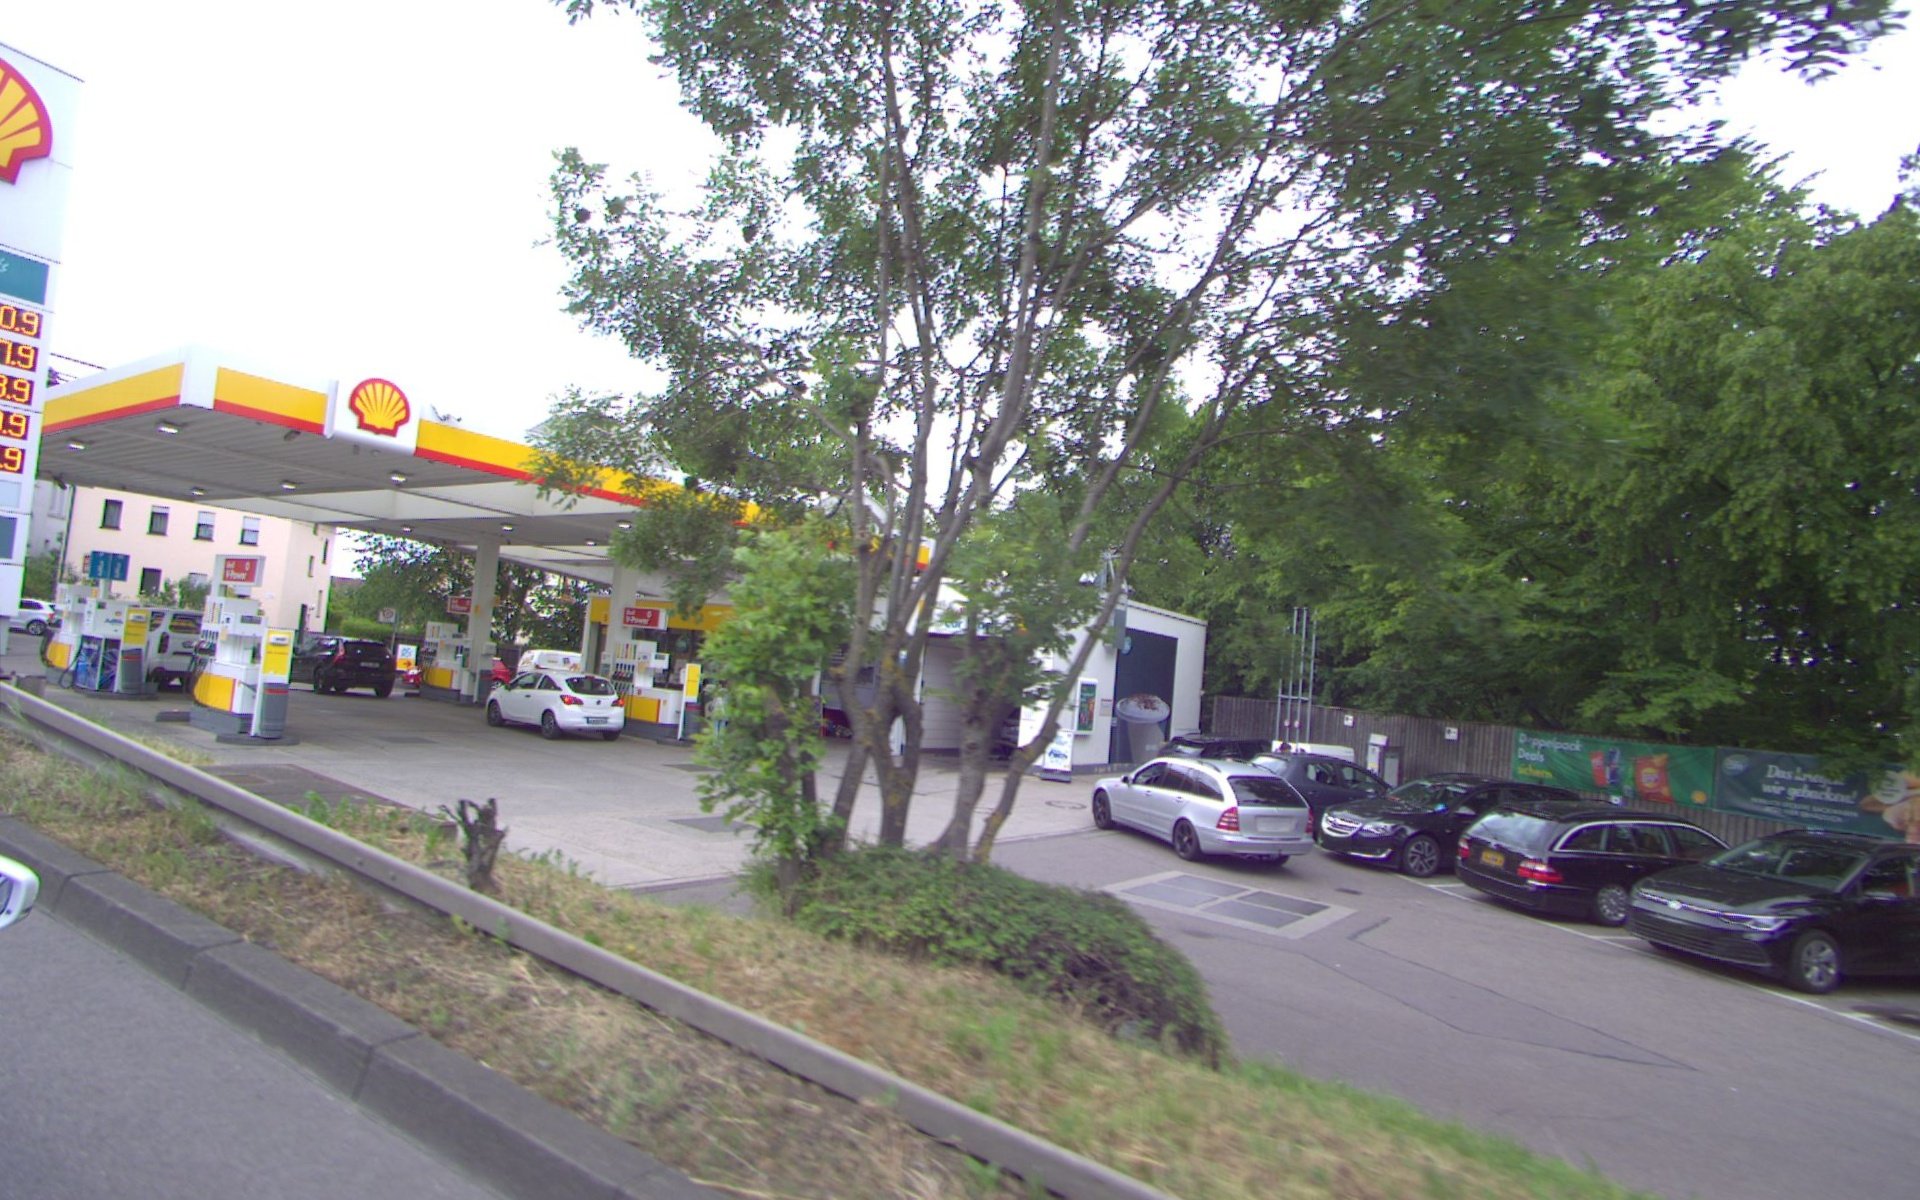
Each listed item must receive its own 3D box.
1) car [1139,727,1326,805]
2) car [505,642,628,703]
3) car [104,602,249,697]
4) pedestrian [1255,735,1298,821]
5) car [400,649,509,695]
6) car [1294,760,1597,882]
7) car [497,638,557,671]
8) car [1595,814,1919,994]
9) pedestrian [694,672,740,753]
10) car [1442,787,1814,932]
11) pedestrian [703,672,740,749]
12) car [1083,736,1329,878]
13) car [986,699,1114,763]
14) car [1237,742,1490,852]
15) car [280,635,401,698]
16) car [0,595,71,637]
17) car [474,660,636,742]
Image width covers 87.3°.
[{"bbox_3d":[6.268,3.805,23.057,4.060,1.453,1.711,6,-2,-30],"label":"car"},{"bbox_3d":[-14.898,2.776,38.203,1.718,1.959,3.861,2,-5,41],"label":"car"},{"bbox_3d":[-19.911,1.225,25.496,4.647,2.032,1.735,2,-4,39],"label":"car"},{"bbox_3d":[6.153,3.445,19.541,0.425,1.553,0.468,10,-5,-15],"label":"pedestrian"},{"bbox_3d":[-20.106,2.871,40.050,3.595,1.474,1.644,8,-4,-36],"label":"car"},{"bbox_3d":[7.722,3.518,16.109,4.148,1.453,1.732,5,-2,-13],"label":"car"},{"bbox_3d":[-24.650,3.110,57.370,1.572,1.361,3.600,7,-8,3],"label":"car"},{"bbox_3d":[9.363,3.276,10.921,4.224,1.441,1.734,6,-5,-14],"label":"car"},{"bbox_3d":[-5.518,2.549,22.817,0.599,1.724,0.543,7,-2,31],"label":"pedestrian"},{"bbox_3d":[8.950,3.473,13.569,4.223,1.451,1.734,6,-5,-13],"label":"car"},{"bbox_3d":[-5.615,2.601,23.698,0.424,1.724,0.493,7,-1,28],"label":"pedestrian"},{"bbox_3d":[3.656,3.132,15.818,1.578,1.448,4.280,6,-3,-19],"label":"car"},{"bbox_3d":[2.589,3.669,28.209,1.716,1.502,3.867,2,-4,37],"label":"car"},{"bbox_3d":[7.360,3.593,18.447,4.033,1.537,1.626,6,-2,-13],"label":"car"},{"bbox_3d":[-18.239,1.949,29.570,3.823,1.502,1.735,2,-4,39],"label":"car"},{"bbox_3d":[-39.663,0.537,41.690,3.724,1.408,1.645,11,-6,-23],"label":"car"},{"bbox_3d":[-9.371,2.306,23.173,3.823,1.502,1.735,2,-4,39],"label":"car"}]
